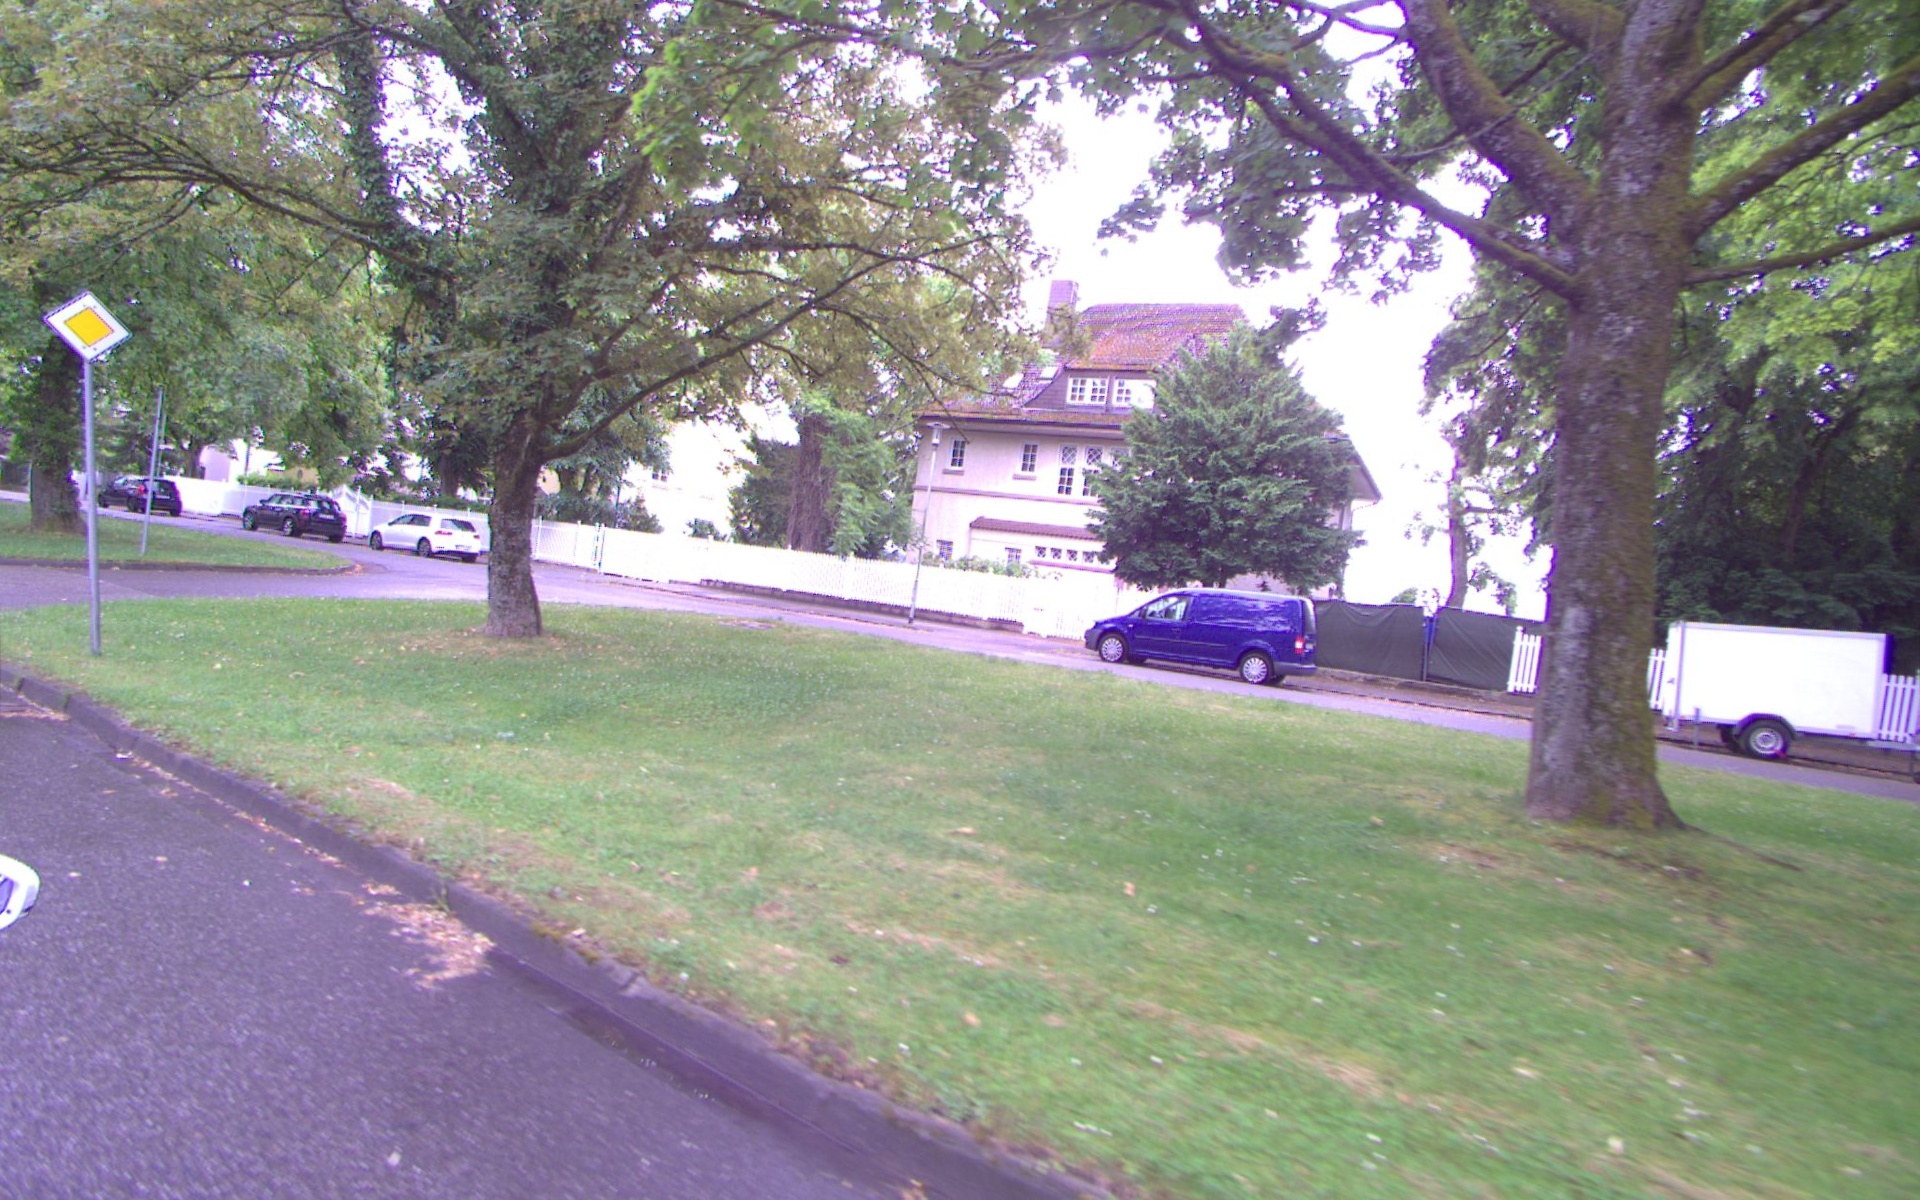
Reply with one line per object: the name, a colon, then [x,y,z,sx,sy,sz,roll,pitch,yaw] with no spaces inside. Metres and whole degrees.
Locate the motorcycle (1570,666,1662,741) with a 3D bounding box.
motorcycle: [11.266,1.791,17.267,1.876,1.106,0.651,7,2,-39]

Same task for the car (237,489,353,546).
car: [-24.121,-2.993,36.489,4.042,1.550,1.803,8,2,30]

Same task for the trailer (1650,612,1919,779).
trailer: [13.161,1.465,16.284,2.898,2.182,1.438,7,2,27]

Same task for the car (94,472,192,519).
car: [-34.440,-4.403,42.404,4.042,1.430,1.803,8,2,30]

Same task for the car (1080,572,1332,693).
car: [5.077,0.613,20.890,4.569,1.833,1.943,8,3,29]

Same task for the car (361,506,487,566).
car: [-17.622,-2.109,33.066,3.939,1.428,1.618,8,2,27]
